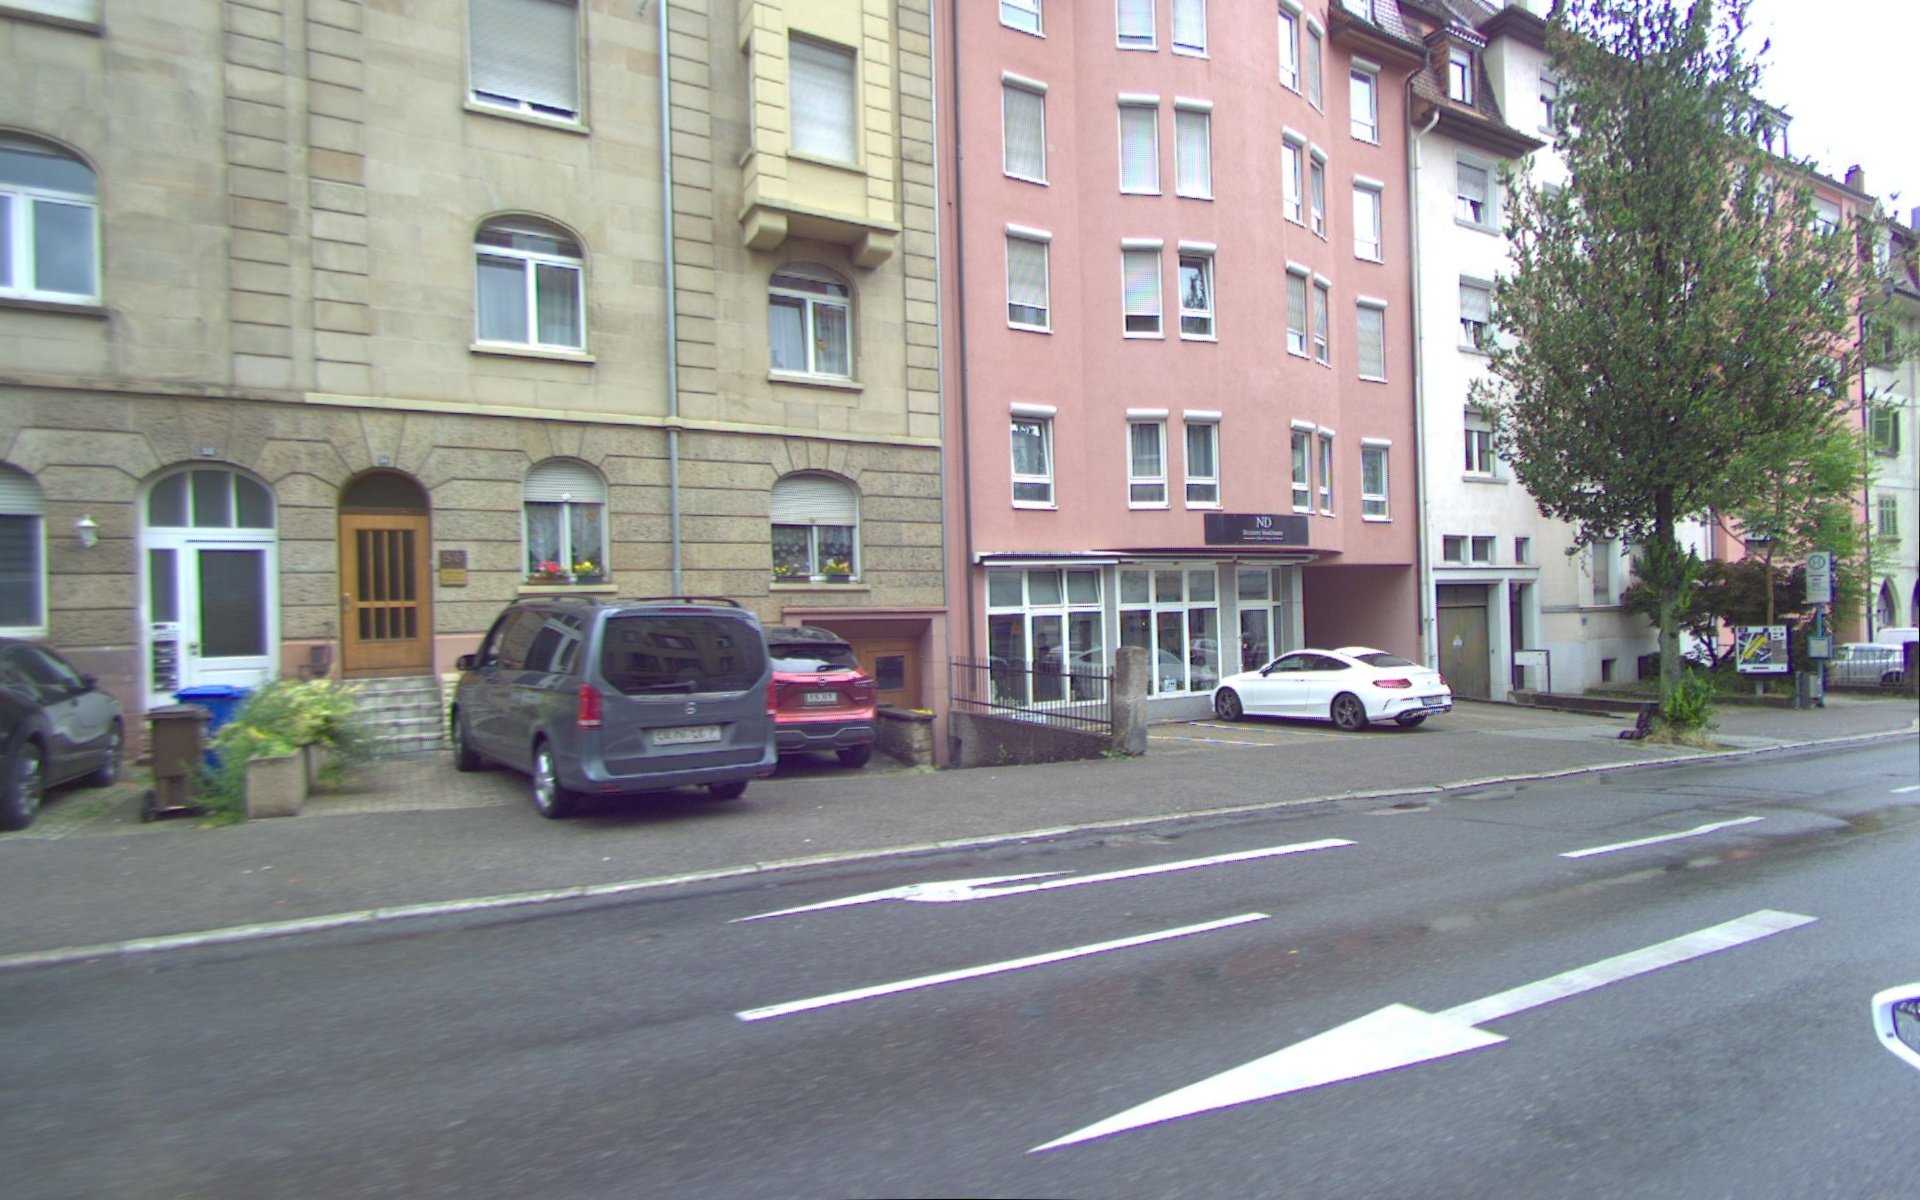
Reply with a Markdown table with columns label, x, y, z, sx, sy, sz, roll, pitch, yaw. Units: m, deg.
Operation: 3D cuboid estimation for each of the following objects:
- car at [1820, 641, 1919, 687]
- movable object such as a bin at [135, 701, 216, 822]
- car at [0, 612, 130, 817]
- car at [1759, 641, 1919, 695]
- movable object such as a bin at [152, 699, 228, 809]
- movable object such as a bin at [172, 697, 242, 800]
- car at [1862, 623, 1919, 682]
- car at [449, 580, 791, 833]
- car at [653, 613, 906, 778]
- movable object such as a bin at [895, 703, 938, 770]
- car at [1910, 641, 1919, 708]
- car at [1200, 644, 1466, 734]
| label | x | y | z | sx | sy | sz | roll | pitch | yaw |
| --- | --- | --- | --- | --- | --- | --- | --- | --- | --- |
| car | 31.027 | 2.062 | 32.605 | 1.772 | 1.470 | 4.409 | 1 | -2 | -32 |
| movable object such as a bin | -6.831 | 1.389 | 8.764 | 0.434 | 0.963 | 0.503 | 1 | 0 | -24 |
| car | -9.035 | 0.880 | 8.889 | 1.850 | 1.531 | 4.129 | 1 | -1 | -29 |
| car | 26.270 | 1.967 | 29.675 | 1.775 | 1.476 | 3.854 | 2 | -3 | -37 |
| movable object such as a bin | -7.093 | 1.405 | 9.268 | 0.434 | 0.916 | 0.503 | 1 | 0 | -24 |
| movable object such as a bin | -7.309 | 1.427 | 9.765 | 0.434 | 0.916 | 0.503 | 1 | 0 | -24 |
| car | 33.487 | 1.749 | 33.392 | 2.023 | 2.000 | 4.808 | 1 | -2 | -29 |
| car | -3.689 | 0.808 | 10.270 | 1.847 | 1.965 | 4.637 | 0 | 1 | -39 |
| car | -2.460 | 1.053 | 12.803 | 1.875 | 1.612 | 4.076 | 2 | 0 | -30 |
| movable object such as a bin | -0.721 | 2.250 | 16.616 | 0.543 | 1.010 | 0.530 | 1 | 0 | -24 |
| car | 23.158 | 1.672 | 22.516 | 3.956 | 1.465 | 1.614 | 1 | -2 | -29 |
| car | 6.641 | 1.517 | 18.420 | 1.747 | 1.419 | 4.528 | 1 | -3 | -30 |
